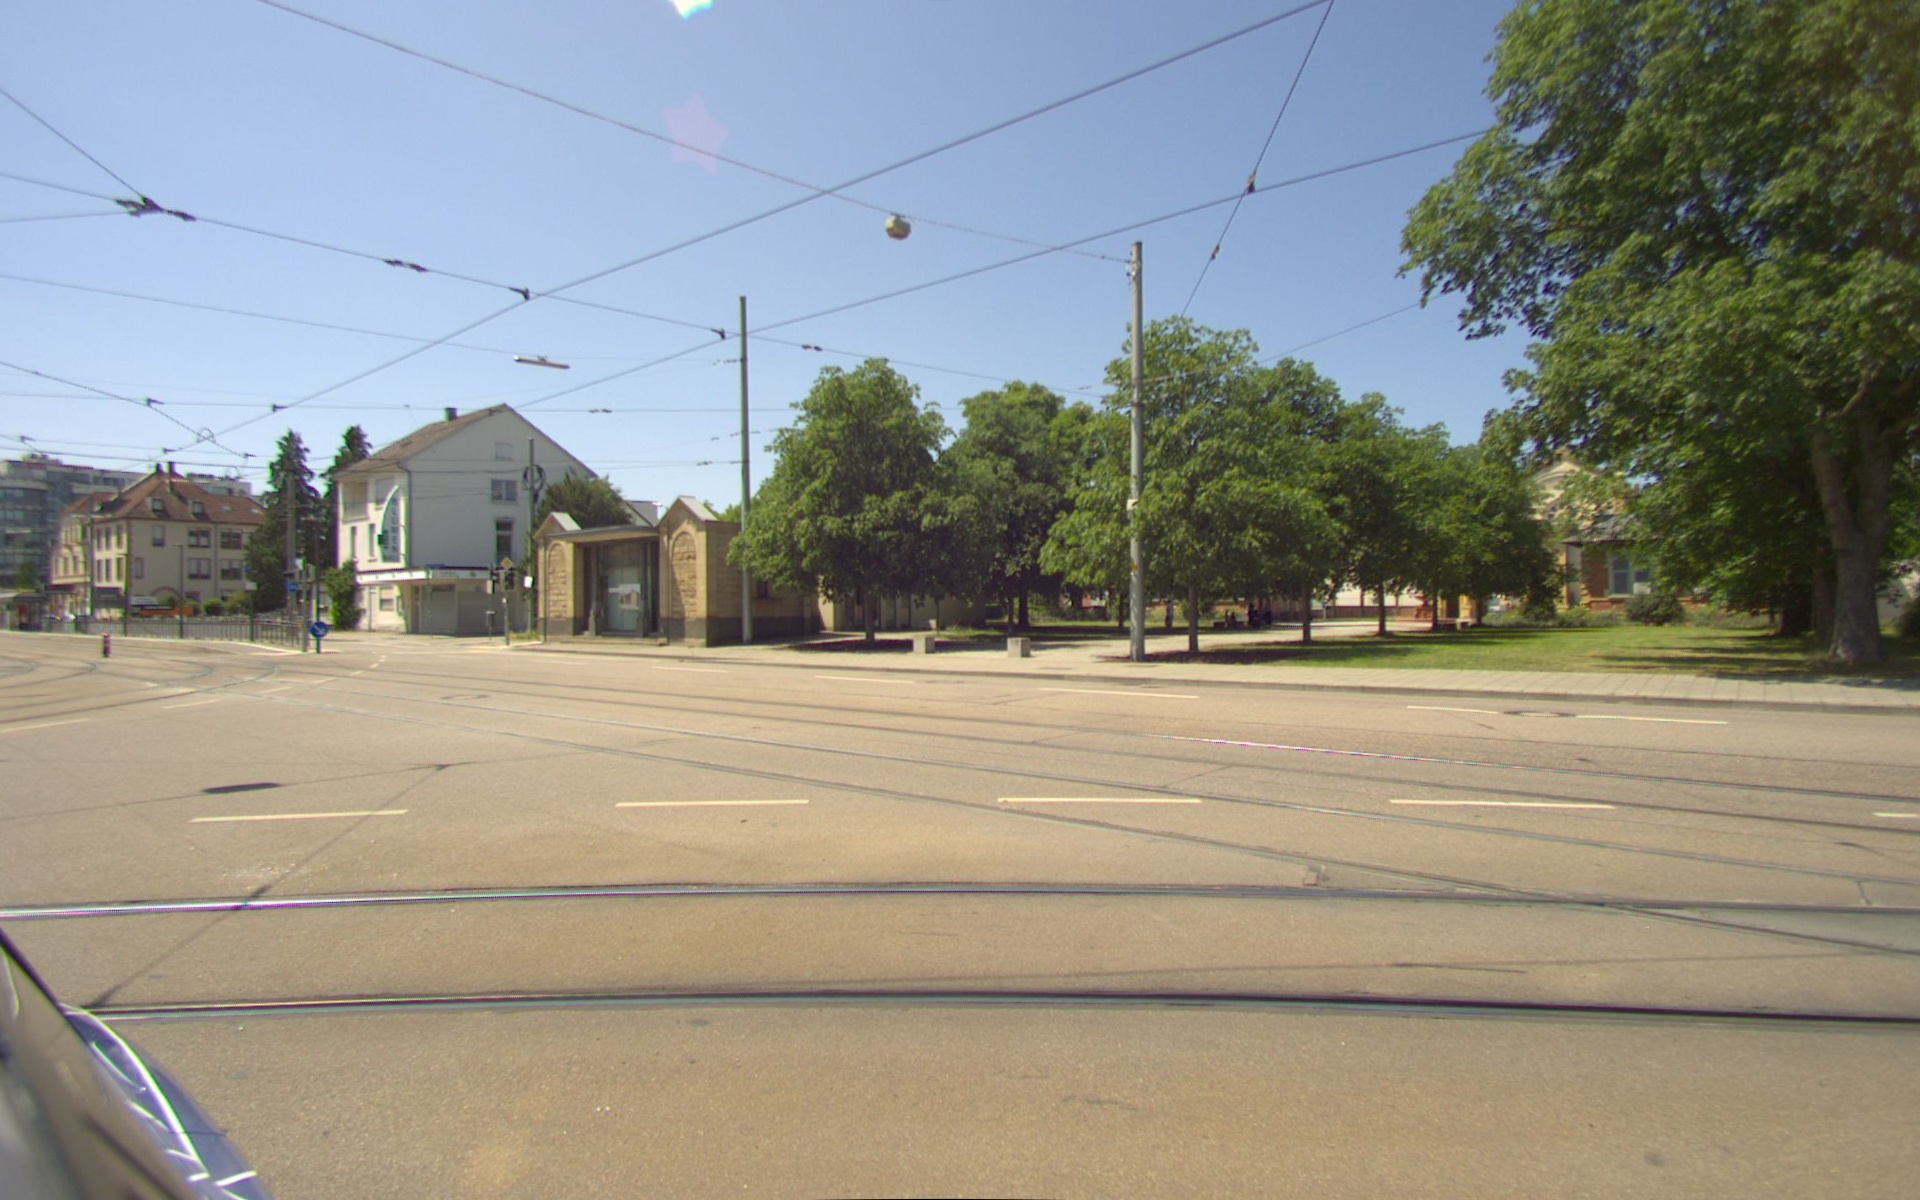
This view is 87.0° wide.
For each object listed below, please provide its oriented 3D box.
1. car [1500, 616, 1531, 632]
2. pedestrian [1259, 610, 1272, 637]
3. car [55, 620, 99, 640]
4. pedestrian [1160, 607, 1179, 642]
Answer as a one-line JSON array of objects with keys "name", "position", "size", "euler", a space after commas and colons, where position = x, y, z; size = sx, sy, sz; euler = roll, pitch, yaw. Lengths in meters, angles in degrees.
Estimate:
[{"name": "car", "position": [35.873, 1.525, 65.359], "size": [1.329, 0.959, 2.701], "euler": [-1, -1, 38]}, {"name": "pedestrian", "position": [16.708, 1.292, 55.339], "size": [0.531, 1.494, 0.521], "euler": [-2, -1, 38]}, {"name": "car", "position": [-69.085, 2.305, 79.189], "size": [4.493, 1.501, 1.800], "euler": [-1, -1, 38]}, {"name": "pedestrian", "position": [10.325, 1.202, 49.767], "size": [0.712, 1.660, 0.521], "euler": [-3, -2, 40]}]
